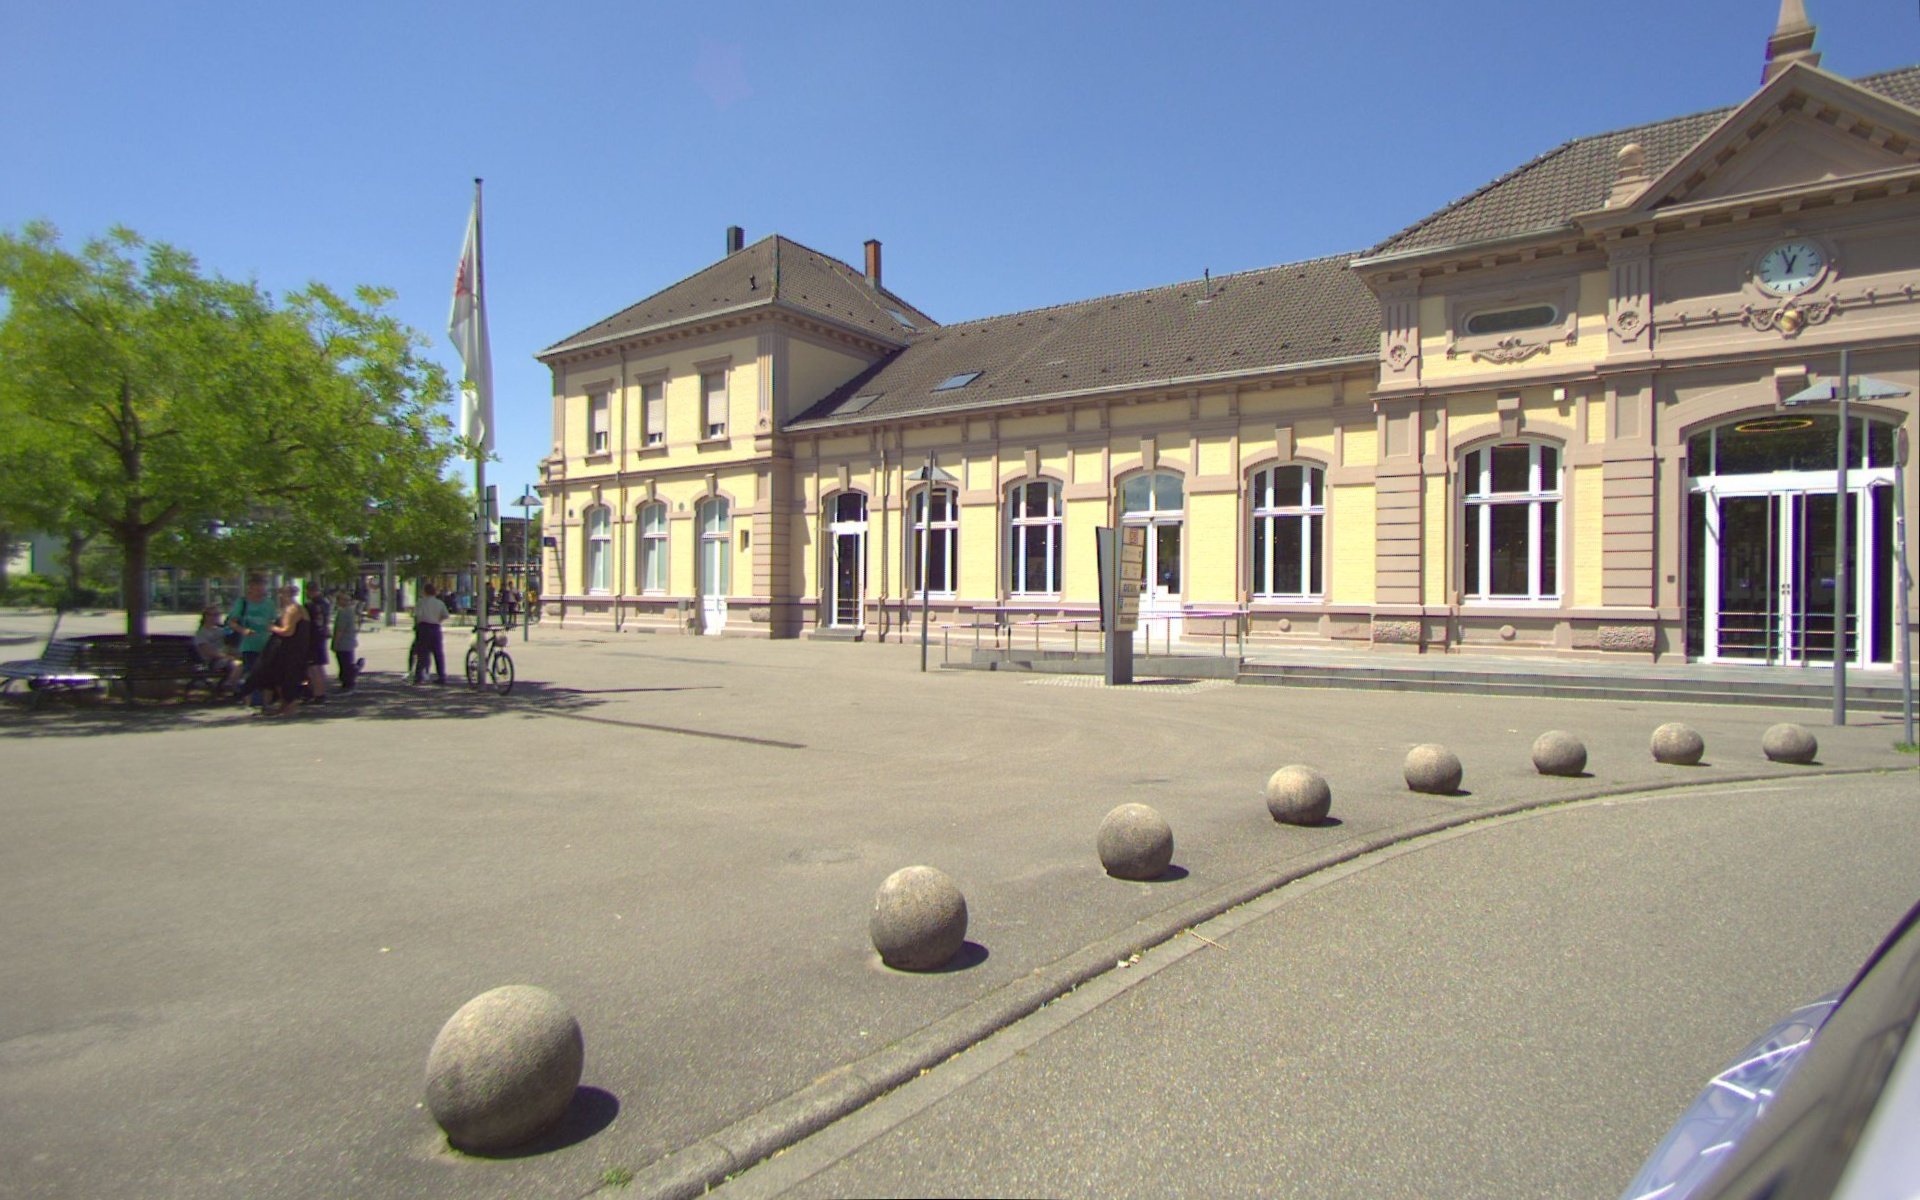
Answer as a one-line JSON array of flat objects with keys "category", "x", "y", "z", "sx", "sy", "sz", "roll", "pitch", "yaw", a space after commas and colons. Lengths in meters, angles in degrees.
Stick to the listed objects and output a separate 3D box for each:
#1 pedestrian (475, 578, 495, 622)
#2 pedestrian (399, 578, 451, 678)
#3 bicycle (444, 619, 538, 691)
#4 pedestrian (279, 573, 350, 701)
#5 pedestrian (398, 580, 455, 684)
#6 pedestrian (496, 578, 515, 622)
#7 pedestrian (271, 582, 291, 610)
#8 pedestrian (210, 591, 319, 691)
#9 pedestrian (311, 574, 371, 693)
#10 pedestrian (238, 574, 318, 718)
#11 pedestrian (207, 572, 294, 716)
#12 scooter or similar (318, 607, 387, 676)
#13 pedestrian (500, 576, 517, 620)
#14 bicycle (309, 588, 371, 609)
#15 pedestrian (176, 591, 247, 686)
[{"category": "pedestrian", "x": -19.774, "y": -0.010, "z": 42.127, "sx": 0.677, "sy": 1.832, "sz": 0.632, "roll": 1, "pitch": 0, "yaw": -33}, {"category": "pedestrian", "x": -9.387, "y": 0.478, "z": 17.752, "sx": 0.581, "sy": 1.706, "sz": 0.551, "roll": 1, "pitch": 0, "yaw": 23}, {"category": "bicycle", "x": -7.588, "y": 0.863, "z": 16.333, "sx": 1.935, "sy": 1.073, "sz": 0.416, "roll": 1, "pitch": 0, "yaw": 34}, {"category": "pedestrian", "x": -9.093, "y": 0.510, "z": 14.265, "sx": 0.590, "sy": 1.762, "sz": 0.583, "roll": 1, "pitch": 0, "yaw": 10}, {"category": "pedestrian", "x": -9.000, "y": 0.525, "z": 17.079, "sx": 0.584, "sy": 1.706, "sz": 0.614, "roll": 1, "pitch": 0, "yaw": 23}, {"category": "pedestrian", "x": -18.957, "y": -0.009, "z": 42.202, "sx": 0.619, "sy": 1.832, "sz": 0.596, "roll": 1, "pitch": 0, "yaw": -34}, {"category": "pedestrian", "x": -35.240, "y": -0.198, "z": 52.530, "sx": 0.672, "sy": 1.412, "sz": 0.619, "roll": 0, "pitch": 1, "yaw": 35}, {"category": "pedestrian", "x": -10.117, "y": 0.577, "z": 14.747, "sx": 0.927, "sy": 1.403, "sz": 0.911, "roll": 1, "pitch": 0, "yaw": 6}, {"category": "pedestrian", "x": -9.412, "y": 0.500, "z": 15.399, "sx": 0.561, "sy": 1.762, "sz": 0.511, "roll": 1, "pitch": 0, "yaw": 6}, {"category": "pedestrian", "x": -8.567, "y": 0.557, "z": 12.723, "sx": 0.539, "sy": 1.762, "sz": 0.626, "roll": 1, "pitch": 0, "yaw": 10}, {"category": "pedestrian", "x": -9.131, "y": 0.548, "z": 13.037, "sx": 0.576, "sy": 1.786, "sz": 0.690, "roll": 1, "pitch": 0, "yaw": 14}, {"category": "scooter or similar", "x": -10.524, "y": 0.709, "z": 17.553, "sx": 0.291, "sy": 1.153, "sz": 1.018, "roll": 0, "pitch": 0, "yaw": 27}, {"category": "pedestrian", "x": -19.140, "y": -0.078, "z": 42.873, "sx": 0.541, "sy": 1.832, "sz": 0.498, "roll": 1, "pitch": 0, "yaw": -34}, {"category": "bicycle", "x": -33.396, "y": -0.056, "z": 54.557, "sx": 0.805, "sy": 1.017, "sz": 2.762, "roll": 0, "pitch": -2, "yaw": 33}, {"category": "pedestrian", "x": -11.238, "y": 0.568, "z": 15.204, "sx": 0.589, "sy": 1.381, "sz": 0.598, "roll": 1, "pitch": 0, "yaw": 7}]
